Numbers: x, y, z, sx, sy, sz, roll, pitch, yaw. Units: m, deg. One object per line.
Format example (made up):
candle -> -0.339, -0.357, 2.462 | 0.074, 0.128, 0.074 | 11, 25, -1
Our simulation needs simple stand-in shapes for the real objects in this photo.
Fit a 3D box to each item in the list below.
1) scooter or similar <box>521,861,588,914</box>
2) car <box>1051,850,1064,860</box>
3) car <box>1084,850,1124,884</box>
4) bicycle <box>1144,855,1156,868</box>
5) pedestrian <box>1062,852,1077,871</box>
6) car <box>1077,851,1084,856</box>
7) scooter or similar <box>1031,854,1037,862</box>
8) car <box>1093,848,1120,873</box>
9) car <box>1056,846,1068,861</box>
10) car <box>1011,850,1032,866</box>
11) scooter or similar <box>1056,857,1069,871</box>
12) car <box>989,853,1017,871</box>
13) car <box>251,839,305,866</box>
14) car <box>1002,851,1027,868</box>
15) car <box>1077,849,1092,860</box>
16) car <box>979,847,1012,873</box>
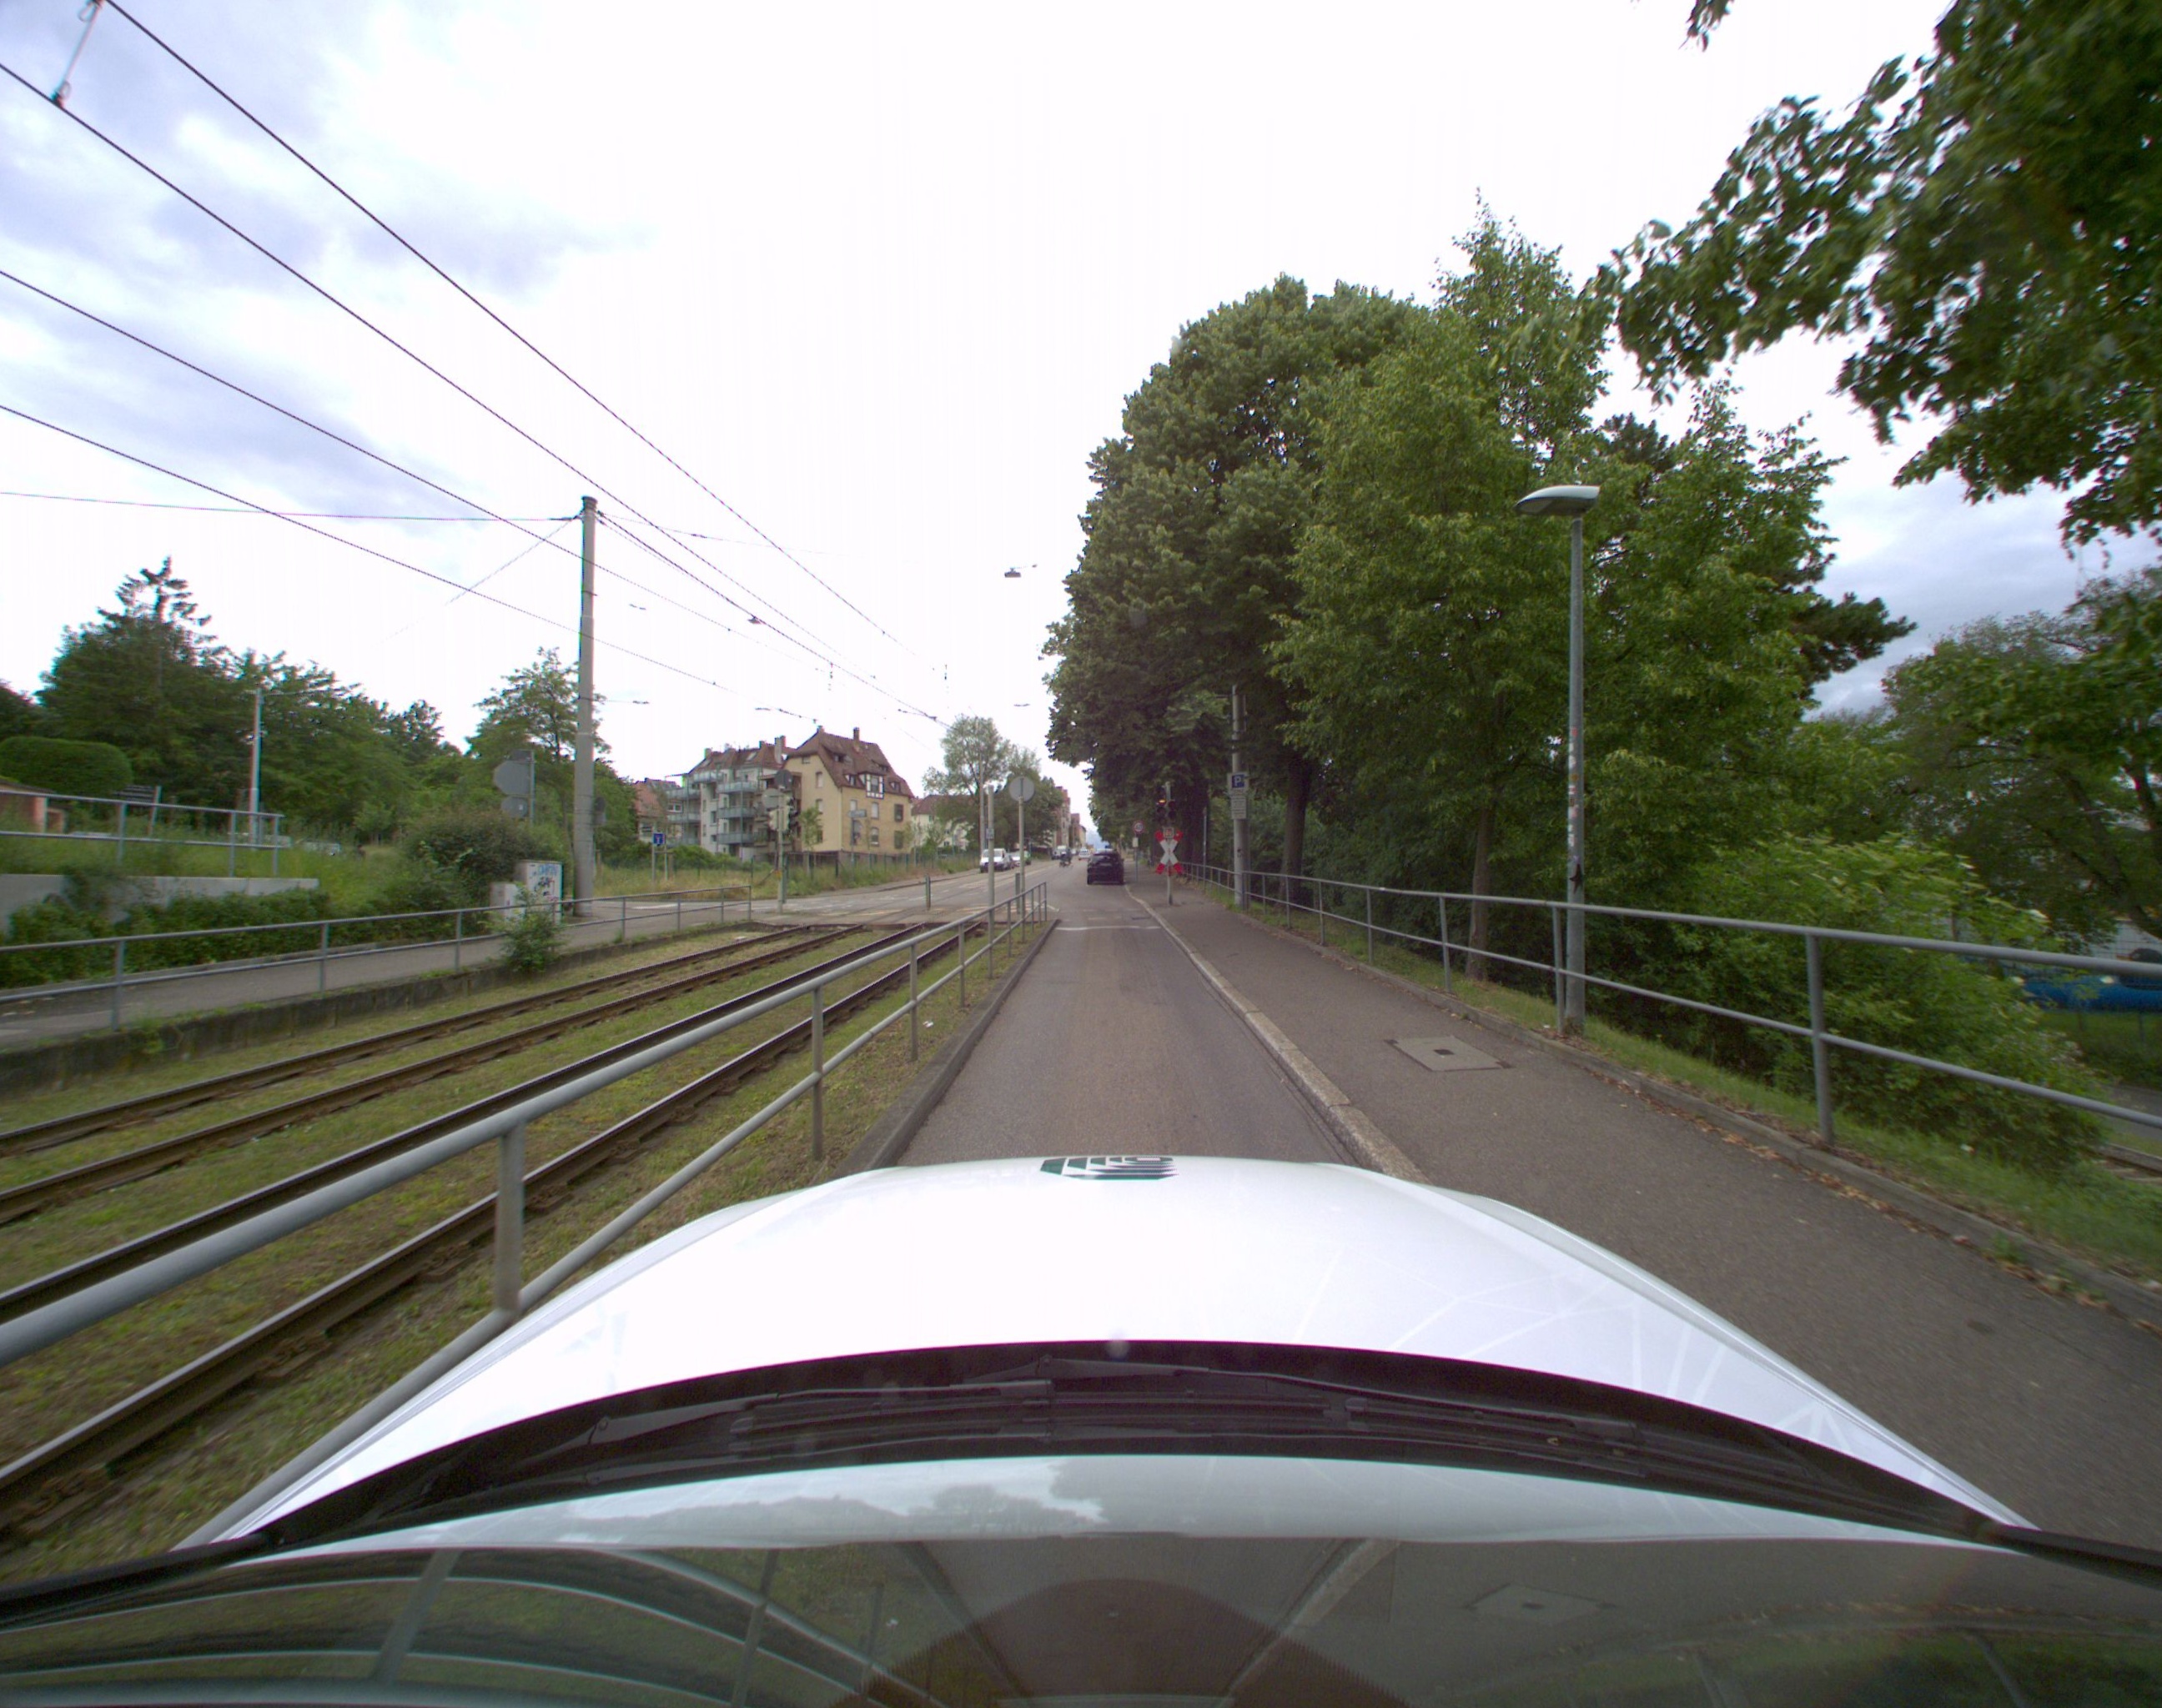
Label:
scooter or similar -> -13.626, 0.852, 21.096 | 1.403, 1.289, 0.419 | 3, -1, 2
car -> -4.210, 0.258, 147.422 | 1.985, 1.808, 4.003 | -1, -1, 3
car -> 1.223, 0.600, 40.975 | 1.896, 1.615, 4.604 | 0, 0, 3
bicycle -> 5.055, 0.559, 59.696 | 0.427, 0.976, 1.790 | -1, -1, -8
pedestrian -> -1.004, 0.649, 70.708 | 0.905, 1.628, 0.812 | -1, -1, 43
car -> -0.272, -0.155, 245.257 | 1.986, 1.601, 4.001 | -1, -1, 2
scooter or similar -> -8.220, 0.735, 142.400 | 0.688, 1.339, 1.640 | -1, -1, 3
car -> 1.764, 0.416, 56.724 | 1.720, 1.631, 4.088 | 2, 0, 1
car -> -3.759, -0.102, 161.917 | 2.223, 2.764, 5.798 | -1, -1, 0
car -> -6.285, 0.450, 87.011 | 1.716, 1.579, 4.183 | -2, 0, 2
scooter or similar -> -1.619, 0.850, 71.268 | 0.829, 1.196, 0.812 | -1, -1, 43
car -> -6.965, 0.700, 72.872 | 1.889, 1.432, 4.513 | -2, 0, 2
car -> -47.772, -0.053, 48.432 | 4.079, 1.511, 1.994 | -1, -1, 41
car -> -6.562, 0.550, 81.169 | 1.878, 1.526, 4.665 | -3, 0, 2
car -> 0.469, 0.096, 113.797 | 1.986, 1.498, 4.314 | -1, -1, 2
car -> -6.996, 0.492, 66.875 | 2.029, 1.881, 4.885 | -4, -1, 1
